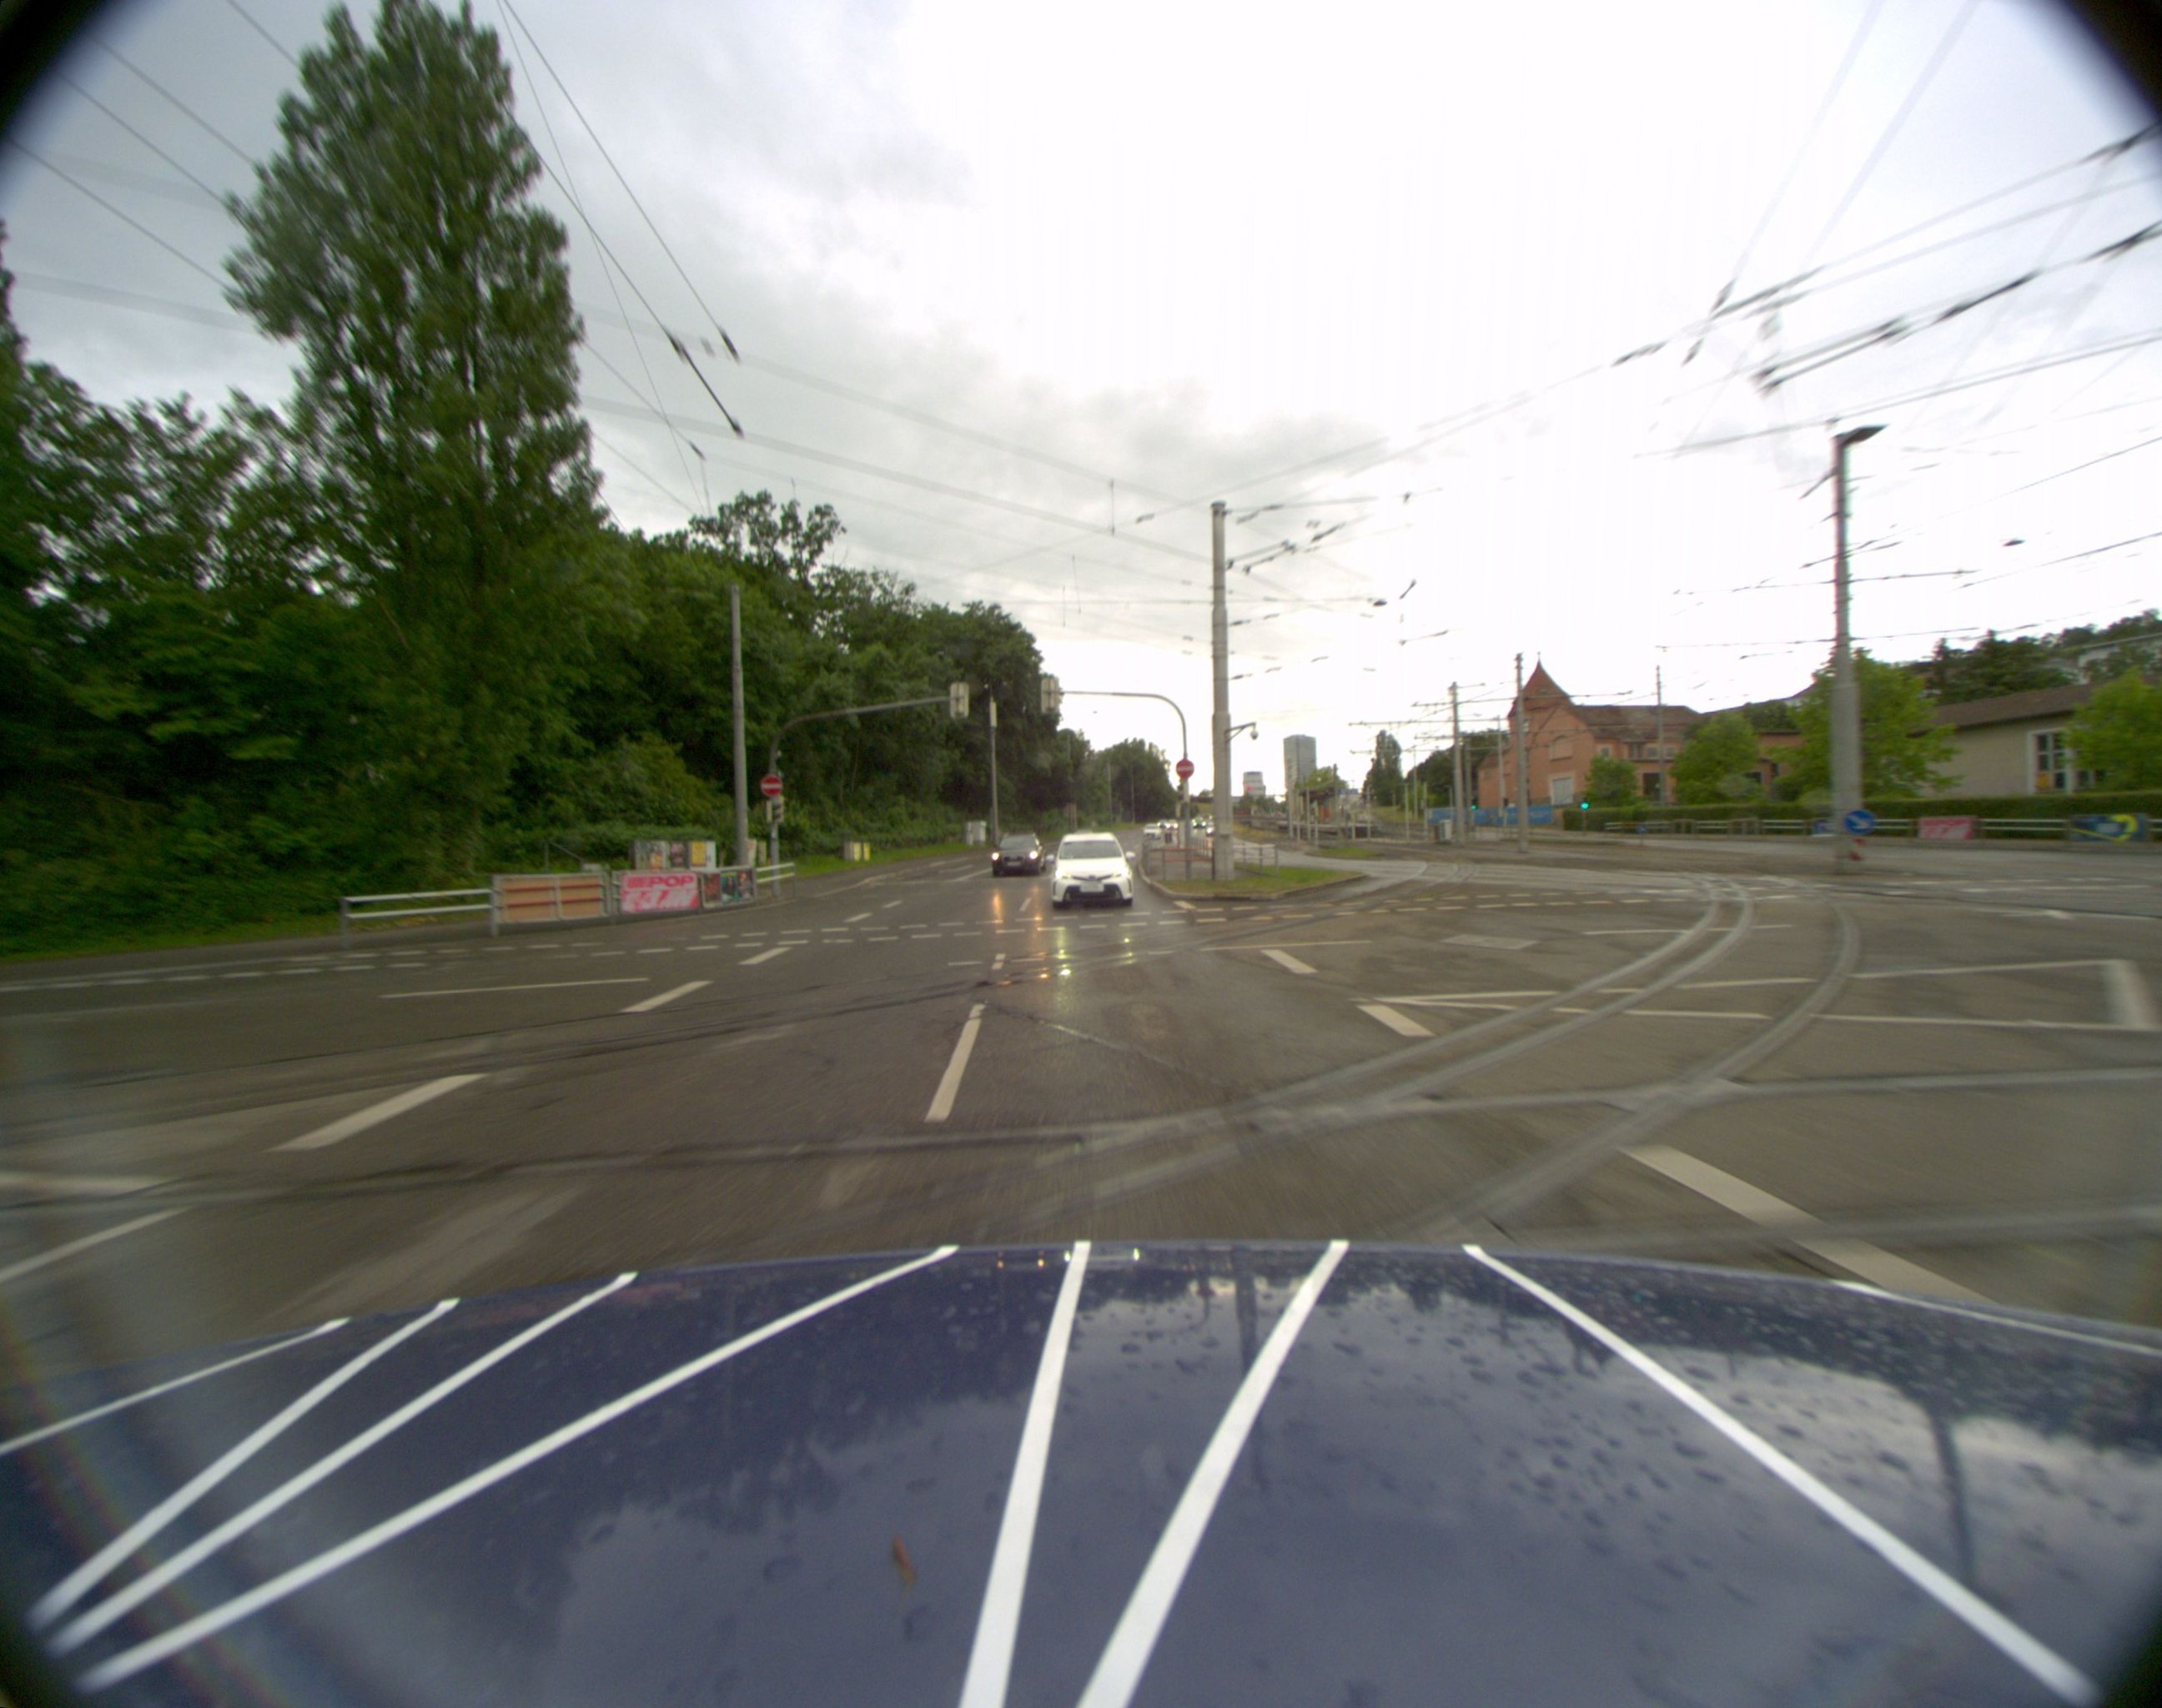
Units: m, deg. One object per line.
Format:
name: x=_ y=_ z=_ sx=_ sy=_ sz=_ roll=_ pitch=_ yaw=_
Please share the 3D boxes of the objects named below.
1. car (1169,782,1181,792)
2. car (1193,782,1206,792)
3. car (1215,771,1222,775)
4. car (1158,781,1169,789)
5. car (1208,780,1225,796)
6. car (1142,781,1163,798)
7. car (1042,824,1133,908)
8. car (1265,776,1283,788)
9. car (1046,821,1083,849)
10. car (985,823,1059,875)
car: x=14.076 y=-10.042 z=114.032 sx=1.800 sy=1.464 sz=3.998 roll=0 pitch=6 yaw=7
car: x=19.135 y=-10.863 z=122.616 sx=1.801 sy=1.464 sz=3.997 roll=0 pitch=6 yaw=5
car: x=43.625 y=-25.740 z=241.131 sx=1.800 sy=1.464 sz=4.000 roll=1 pitch=6 yaw=13
car: x=14.616 y=-12.189 z=134.117 sx=1.800 sy=1.464 sz=3.998 roll=0 pitch=6 yaw=7
car: x=15.067 y=-7.352 z=84.224 sx=1.737 sy=1.580 sz=3.998 roll=1 pitch=7 yaw=11
car: x=7.279 y=-6.545 z=77.000 sx=1.737 sy=1.580 sz=3.998 roll=1 pitch=7 yaw=11
car: x=0.263 y=0.189 z=17.724 sx=1.855 sy=1.741 sz=4.000 roll=0 pitch=2 yaw=4
car: x=28.520 y=-10.653 z=112.508 sx=1.801 sy=1.504 sz=3.998 roll=-1 pitch=3 yaw=2
car: x=-1.126 y=-1.371 z=52.999 sx=1.737 sy=1.580 sz=3.998 roll=1 pitch=7 yaw=11
car: x=-2.232 y=-0.266 z=29.980 sx=1.854 sy=1.580 sz=3.998 roll=1 pitch=7 yaw=11
